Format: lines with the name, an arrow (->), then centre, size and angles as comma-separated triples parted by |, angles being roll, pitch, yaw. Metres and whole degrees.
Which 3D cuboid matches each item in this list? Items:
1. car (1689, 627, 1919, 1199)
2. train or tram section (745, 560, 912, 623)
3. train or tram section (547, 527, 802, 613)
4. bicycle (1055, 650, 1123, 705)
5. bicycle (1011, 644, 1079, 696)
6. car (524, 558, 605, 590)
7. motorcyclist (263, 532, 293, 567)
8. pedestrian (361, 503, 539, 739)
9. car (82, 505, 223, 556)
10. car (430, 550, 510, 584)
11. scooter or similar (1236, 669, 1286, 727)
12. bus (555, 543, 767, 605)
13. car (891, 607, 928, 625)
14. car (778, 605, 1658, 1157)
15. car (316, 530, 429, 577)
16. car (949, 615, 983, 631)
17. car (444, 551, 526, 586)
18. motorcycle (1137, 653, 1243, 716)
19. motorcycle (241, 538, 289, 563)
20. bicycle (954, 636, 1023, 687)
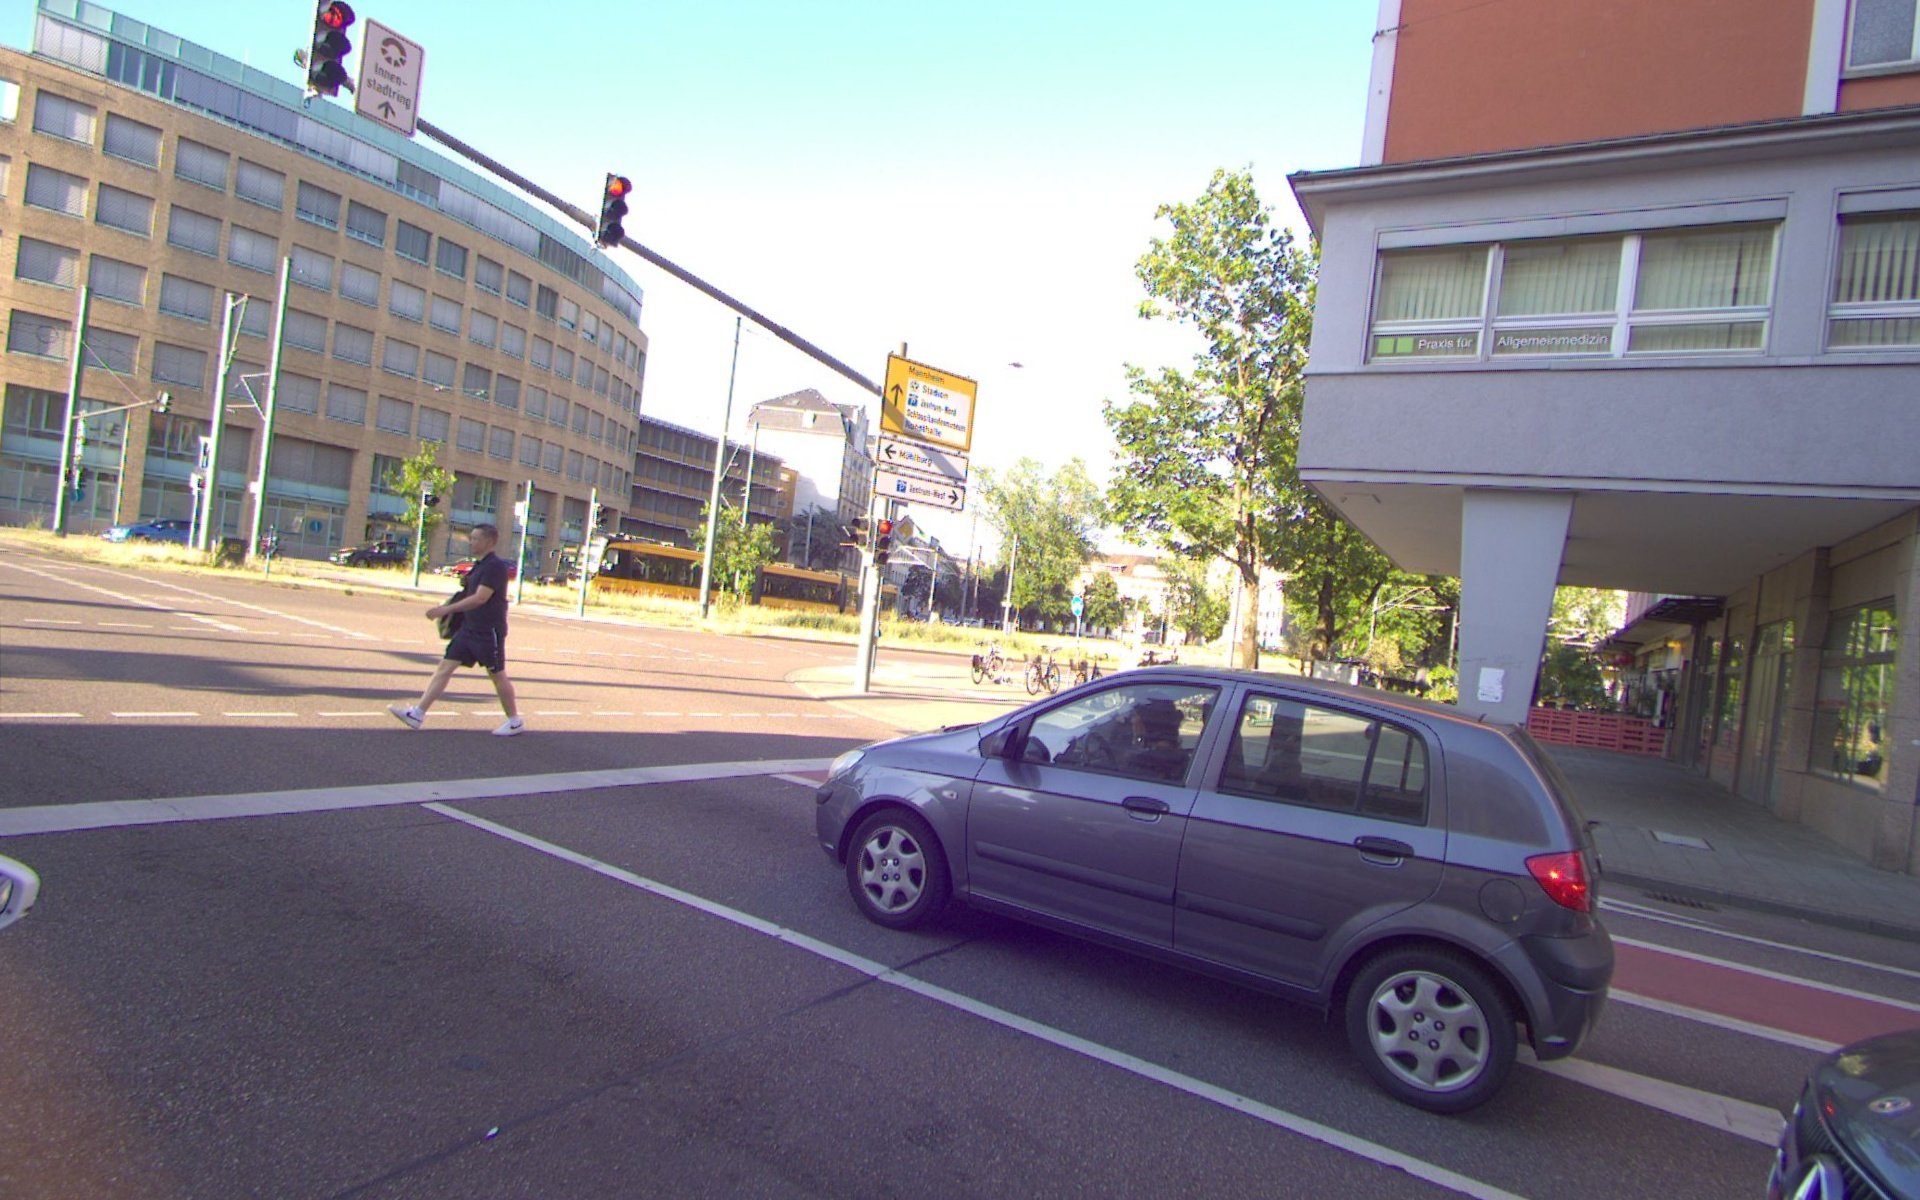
car -> 3.243, 1.102, 0.500 | 4.403, 1.652, 1.787 | 7, 0, 30
train or tram section -> -9.386, -0.385, 77.124 | 3.631, 3.215, 19.962 | 7, -1, 20
train or tram section -> -16.405, -1.548, 60.778 | 3.636, 3.215, 17.137 | 7, -1, 29
bicycle -> 3.051, 1.807, 23.616 | 0.730, 1.130, 2.089 | 7, 0, 29
bicycle -> 2.079, 1.685, 24.327 | 0.730, 1.130, 2.089 | 7, 0, 29
car -> -23.179, -1.504, 59.130 | 1.966, 1.362, 3.995 | 7, -1, 29
motorcyclist -> -33.988, -2.498, 50.119 | 0.789, 1.605, 0.849 | 7, 0, 32
pedestrian -> -4.162, 0.182, 8.246 | 0.659, 1.790, 0.945 | 7, 0, 35
car -> -34.767, -2.965, 43.446 | 1.965, 1.520, 4.238 | 7, -1, 28
car -> -27.494, -1.837, 56.489 | 1.693, 1.358, 3.614 | 7, -1, 30
scooter or similar -> 6.960, 2.273, 23.224 | 1.130, 1.261, 0.424 | 6, 1, -39
bus -> -20.235, -1.620, 70.755 | 2.380, 2.466, 18.214 | 7, -1, 26
car -> -5.990, 1.937, 120.116 | 1.974, 1.630, 3.978 | 7, -1, 44
car -> 1.083, 1.014, 4.933 | 3.586, 1.463, 1.588 | 7, -2, 31
car -> -28.525, -2.229, 48.943 | 1.967, 1.634, 4.234 | 7, -1, 32
car -> 0.747, 2.882, 125.945 | 1.971, 1.609, 3.983 | 7, -1, 40
car -> -25.610, -1.670, 54.337 | 1.693, 1.358, 3.613 | 7, -1, 31
motorcycle -> 5.845, 2.126, 25.614 | 2.361, 1.256, 0.855 | 7, 0, 28
motorcycle -> -34.412, -2.435, 49.815 | 0.515, 0.965, 1.820 | 7, 0, 30
bicycle -> 0.733, 1.526, 25.030 | 0.730, 1.130, 2.089 | 7, 0, 29
